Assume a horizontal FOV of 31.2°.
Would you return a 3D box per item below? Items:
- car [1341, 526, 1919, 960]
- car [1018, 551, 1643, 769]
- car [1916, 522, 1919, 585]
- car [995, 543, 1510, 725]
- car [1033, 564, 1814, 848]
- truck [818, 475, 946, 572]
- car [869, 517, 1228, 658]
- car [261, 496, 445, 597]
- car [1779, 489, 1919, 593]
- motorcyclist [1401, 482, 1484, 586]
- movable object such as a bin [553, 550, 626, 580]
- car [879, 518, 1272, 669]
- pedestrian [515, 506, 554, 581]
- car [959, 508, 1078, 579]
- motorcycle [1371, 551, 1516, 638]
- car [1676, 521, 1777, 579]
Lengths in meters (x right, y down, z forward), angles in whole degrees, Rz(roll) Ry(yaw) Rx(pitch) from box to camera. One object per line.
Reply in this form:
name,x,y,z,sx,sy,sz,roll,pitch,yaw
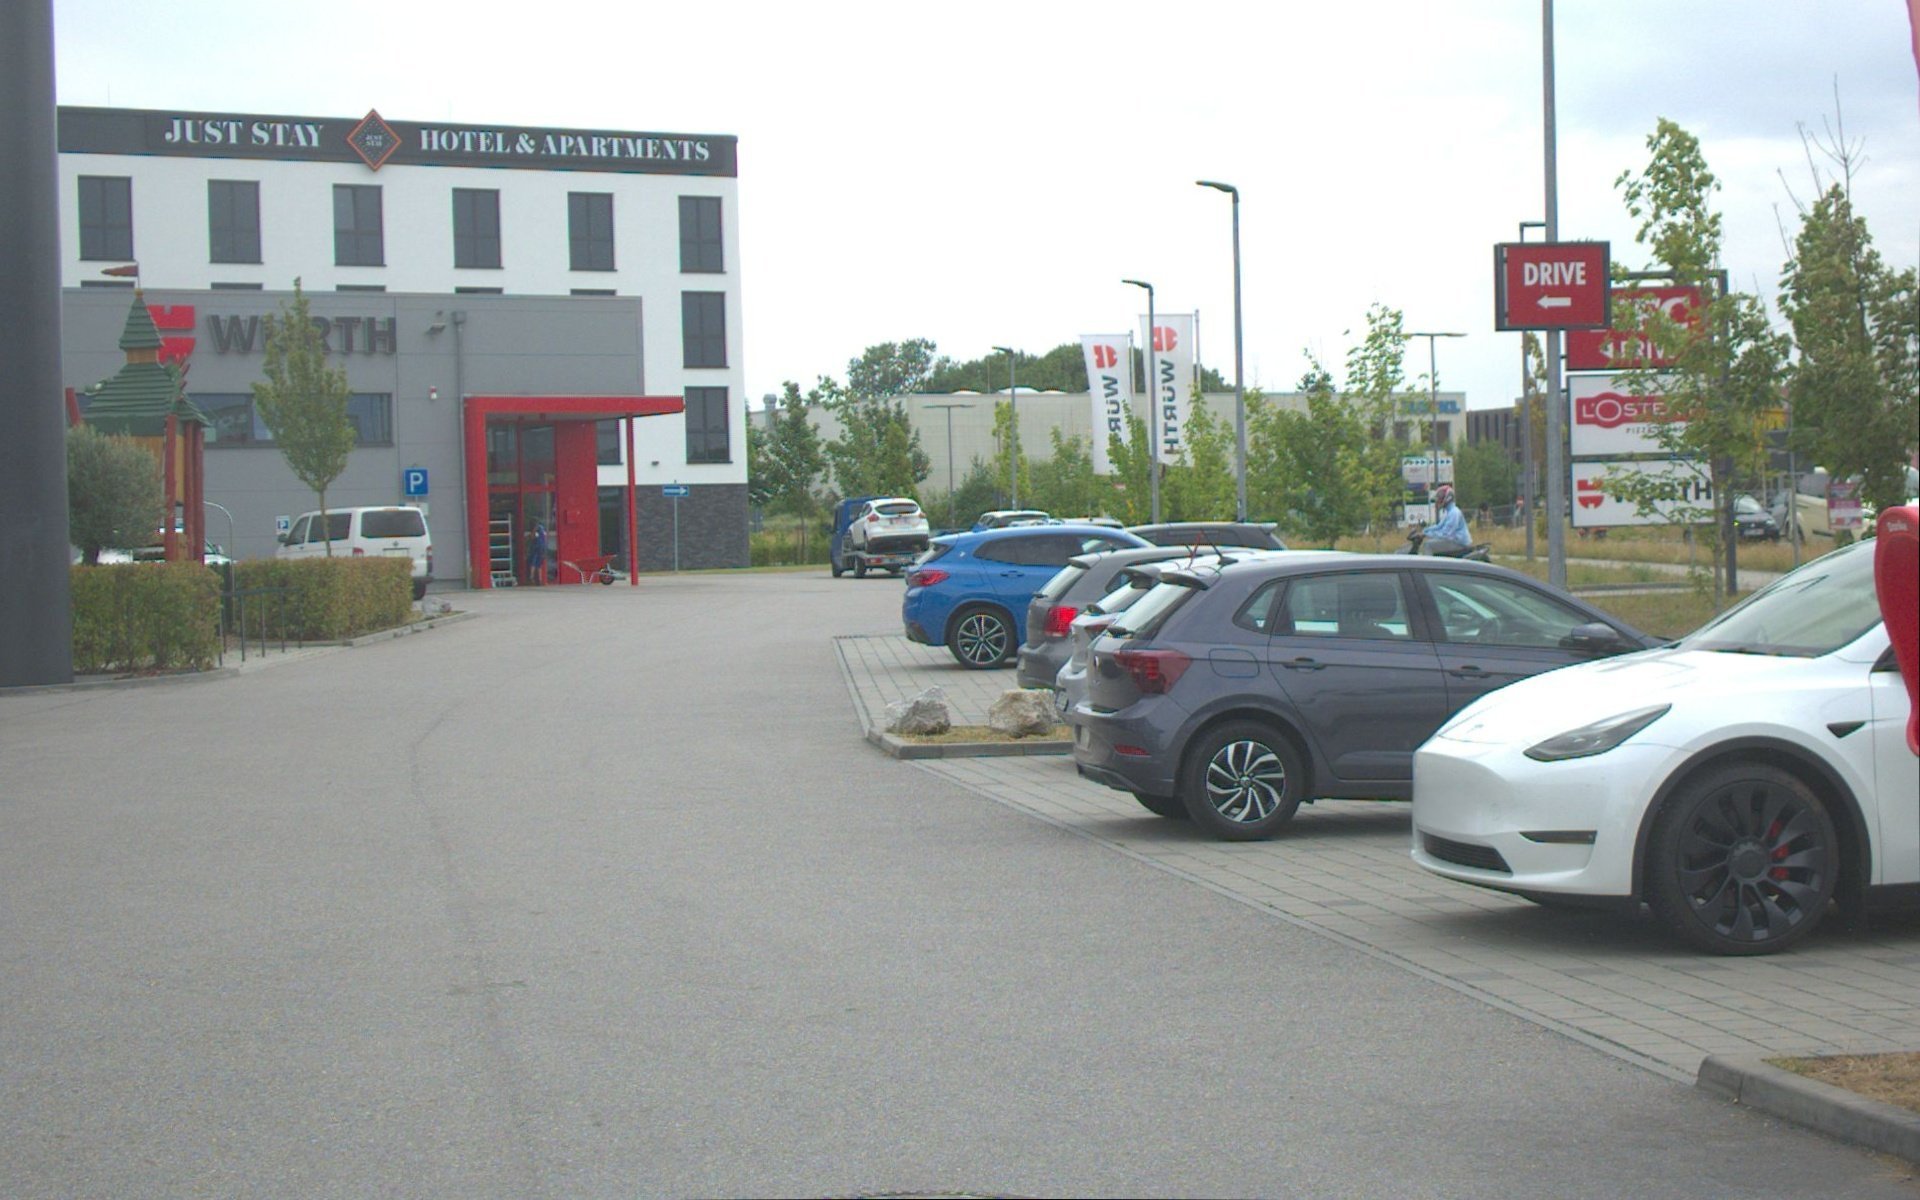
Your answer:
car,3.979,0.497,13.569,4.529,1.536,1.926,0,1,-12
car,2.468,0.388,23.496,3.926,1.407,1.840,0,1,-6
car,22.237,-1.012,73.872,1.762,1.390,4.220,-2,1,-7
car,2.342,0.256,28.189,3.986,1.423,1.728,0,1,-4
car,2.424,0.532,18.443,3.795,1.407,1.739,0,1,-10
truck,-2.281,-2.119,97.405,2.331,2.398,7.898,0,-1,-11
car,1.012,-0.160,40.213,4.061,1.454,1.776,-2,2,0
car,-12.821,-1.114,72.467,2.056,1.848,4.061,-8,4,-36
car,19.433,-1.300,73.592,1.993,2.079,5.232,-2,2,-6
motorcyclist,7.065,-0.963,50.379,0.938,1.483,0.831,-2,1,-12
movable object such as a bin,-8.805,-0.839,81.691,1.488,0.701,0.965,-1,1,-25
car,1.221,-0.094,37.931,4.201,1.539,1.865,-1,1,-1
pedestrian,-10.240,-1.364,82.684,0.676,1.796,0.880,-1,1,-25
car,1.345,-1.326,81.317,1.856,1.644,4.001,0,1,-14
motorcycle,7.081,-0.087,50.398,1.915,1.204,0.795,-2,1,-12
car,18.501,-1.216,83.083,1.461,1.332,3.164,-1,2,-5
